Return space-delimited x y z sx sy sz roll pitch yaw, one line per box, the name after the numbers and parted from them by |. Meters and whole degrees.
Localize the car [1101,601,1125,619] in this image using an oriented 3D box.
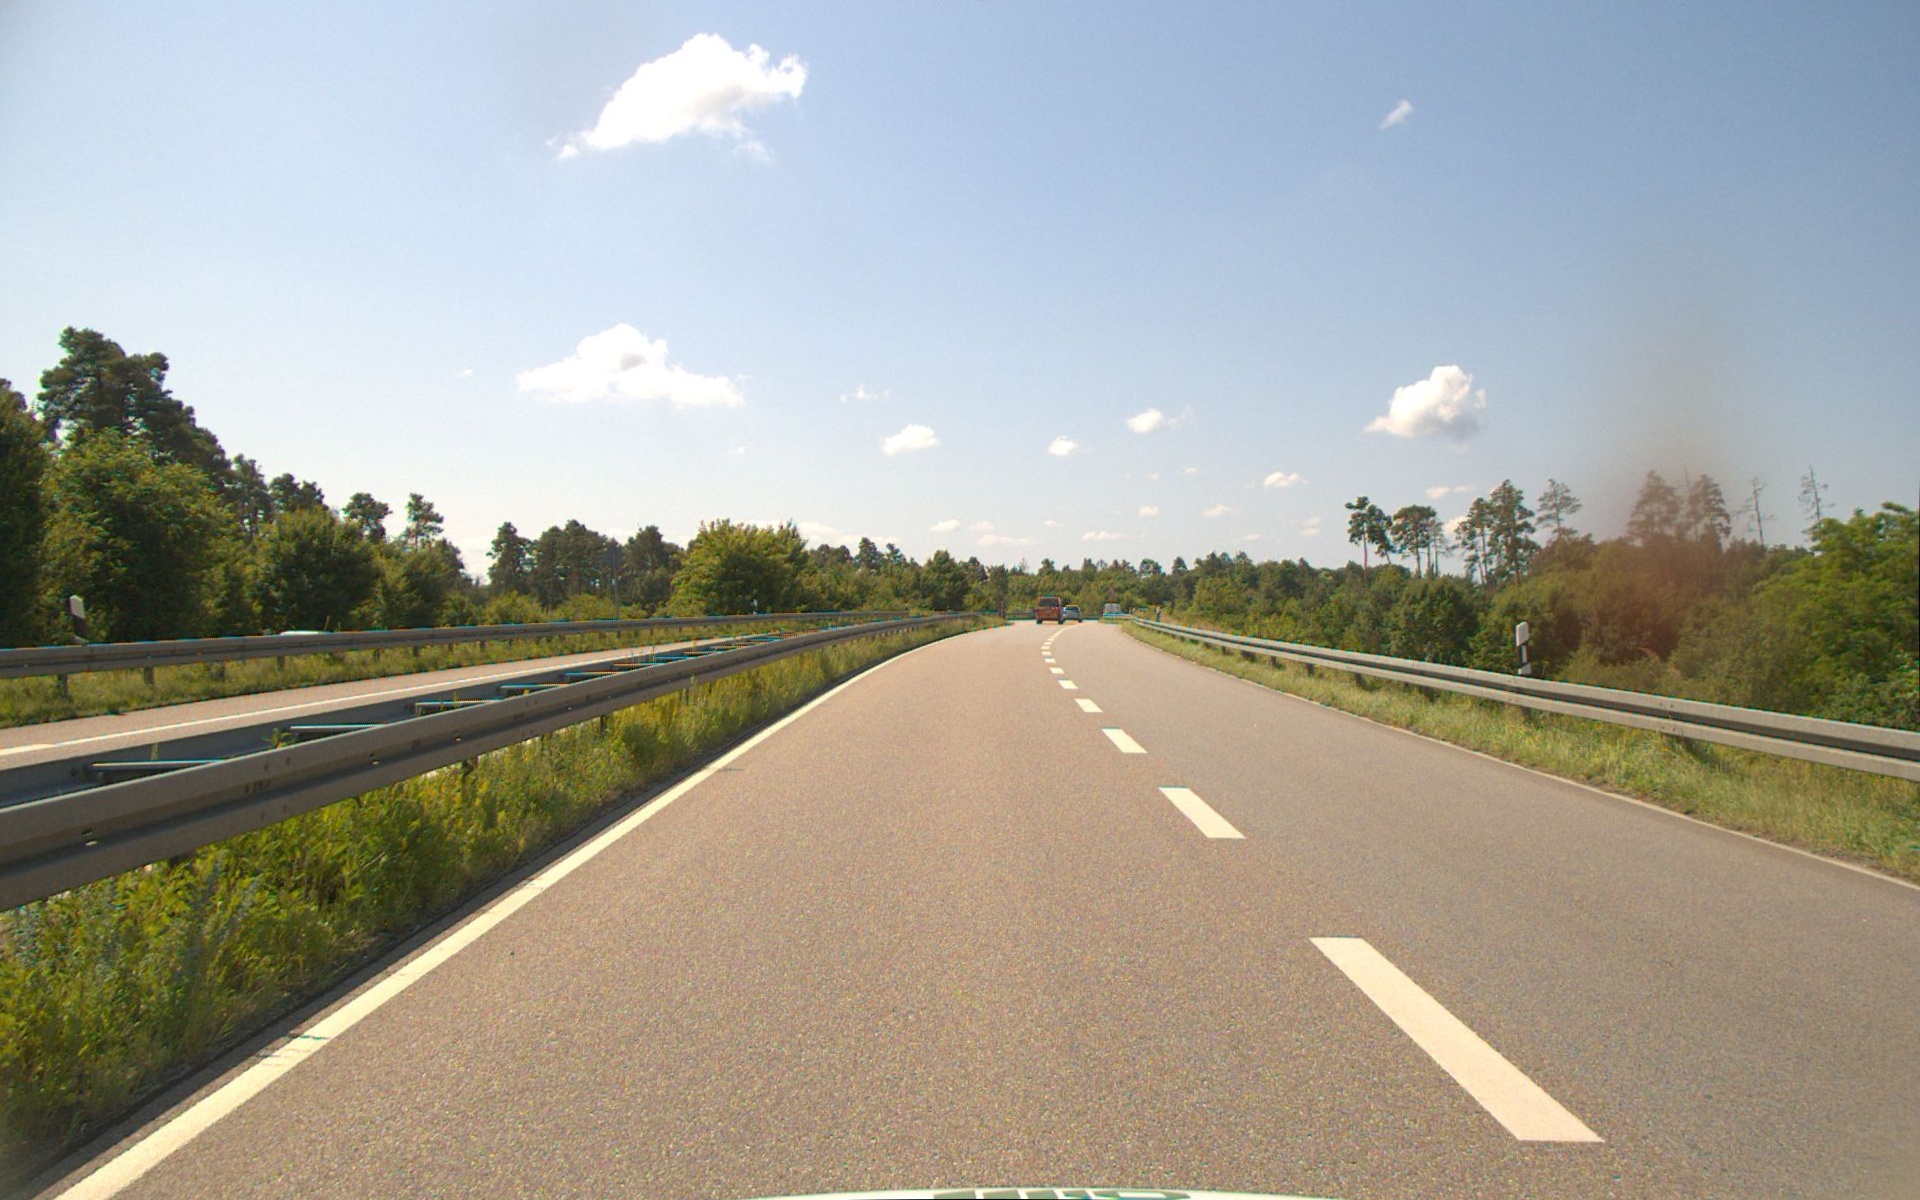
18.355 1.203 198.361 2.138 1.989 5.808 1 -1 12 | car

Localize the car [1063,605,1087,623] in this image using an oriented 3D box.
10.108 1.234 145.551 1.965 1.520 4.241 1 -1 5 | car

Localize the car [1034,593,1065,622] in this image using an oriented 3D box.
6.711 0.577 123.871 2.033 2.028 5.114 1 -1 6 | car

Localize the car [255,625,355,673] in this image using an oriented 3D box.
-21.524 1.587 54.554 1.911 1.438 4.826 0 0 -7 | car
